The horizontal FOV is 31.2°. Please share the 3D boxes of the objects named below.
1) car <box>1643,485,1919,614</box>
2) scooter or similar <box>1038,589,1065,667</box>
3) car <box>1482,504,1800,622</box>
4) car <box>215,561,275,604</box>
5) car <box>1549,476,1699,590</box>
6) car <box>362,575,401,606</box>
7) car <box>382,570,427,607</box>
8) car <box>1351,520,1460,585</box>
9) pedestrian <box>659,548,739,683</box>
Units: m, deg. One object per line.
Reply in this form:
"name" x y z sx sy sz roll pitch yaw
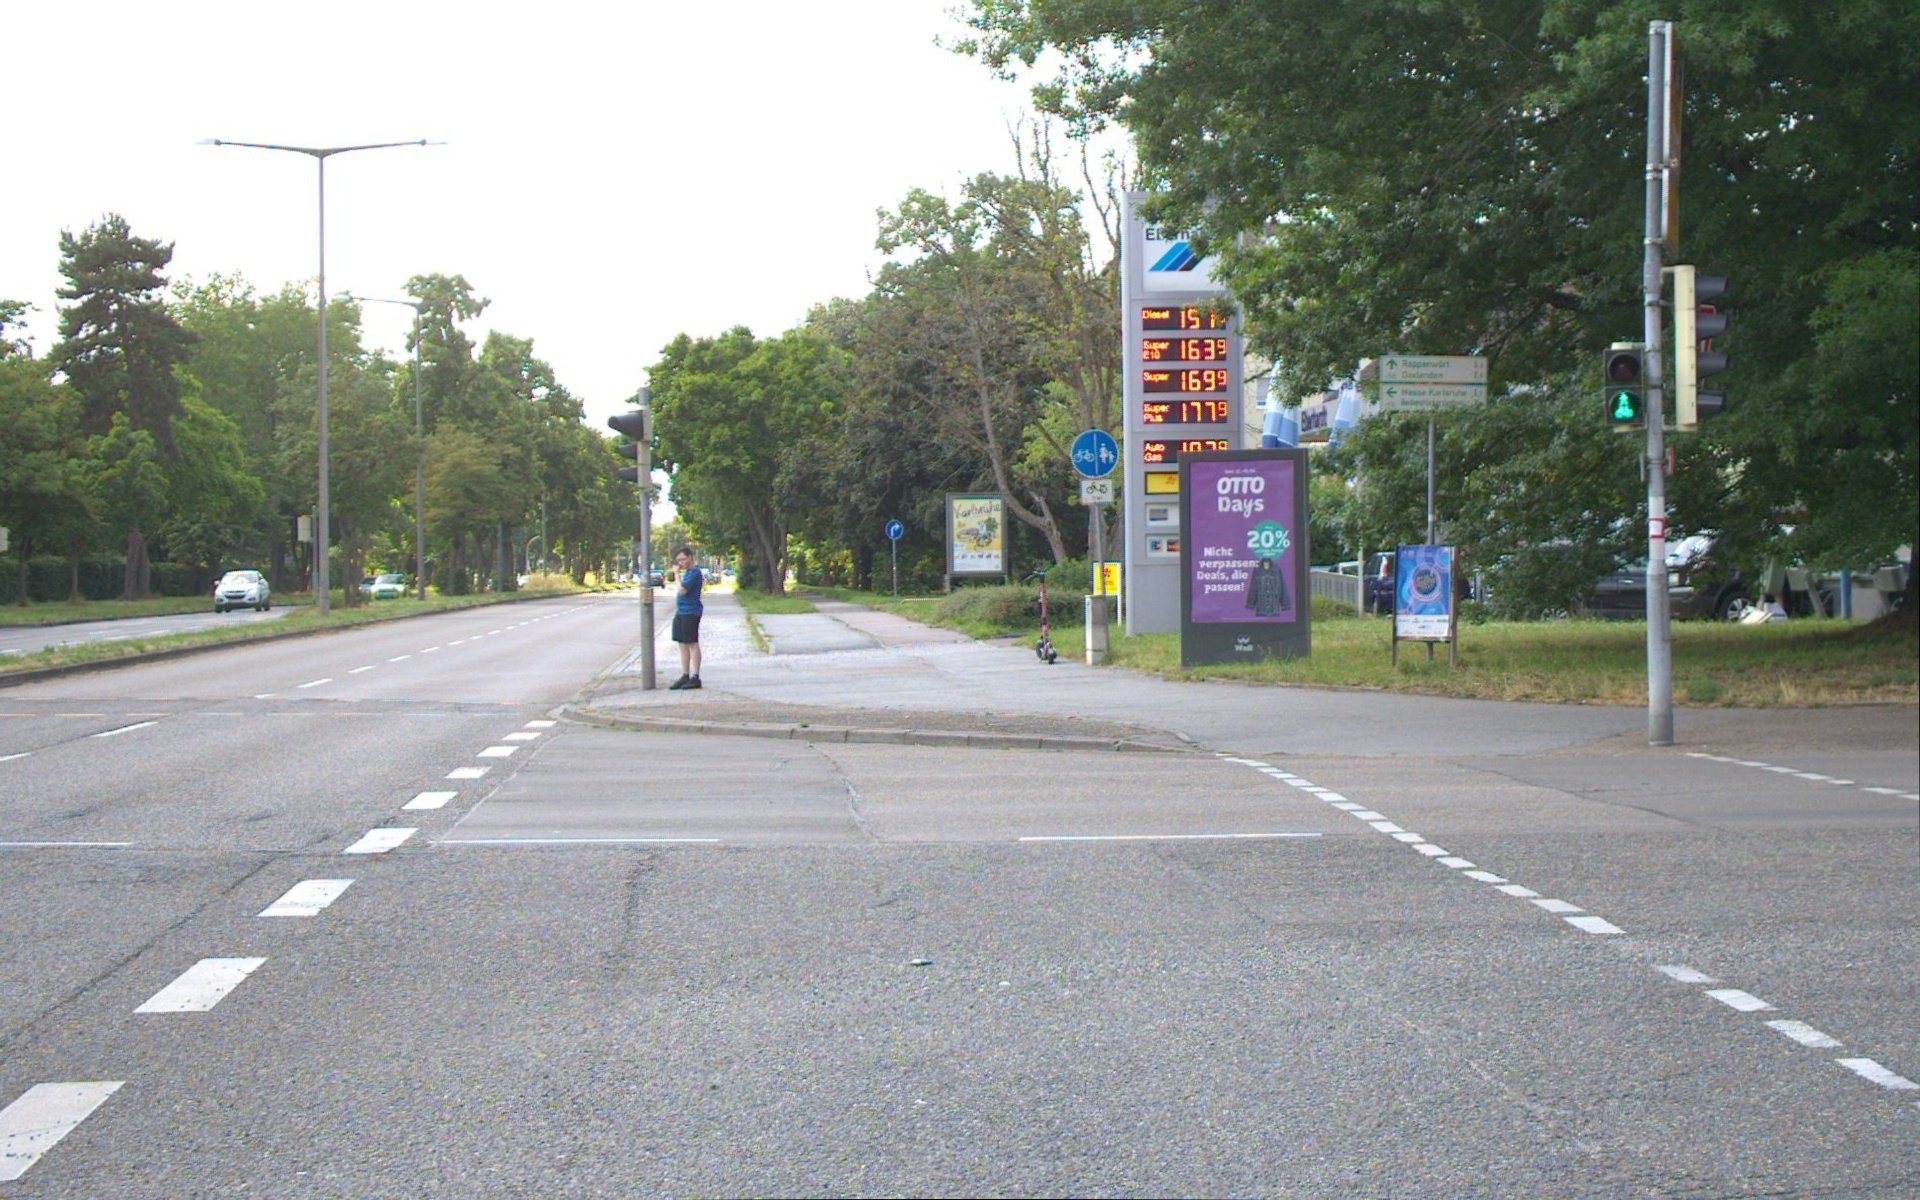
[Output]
"car" 13.007 -0.759 51.047 5.179 1.820 2.154 -1 0 -14
"scooter or similar" 1.174 0.350 44.088 0.221 0.976 1.272 -1 0 -3
"car" 12.246 -0.671 61.979 5.179 1.997 2.154 -1 0 -7
"car" -29.390 -0.722 141.393 1.860 1.699 4.456 -1 0 -5
"car" 14.957 -1.483 77.702 1.750 2.445 5.751 -1 0 -5
"car" -32.560 -0.522 193.573 1.859 1.699 4.456 -1 0 -6
"car" -26.947 -0.565 166.803 1.859 1.699 4.456 -1 0 -6
"car" 10.418 -1.106 80.612 1.750 1.449 3.742 -1 0 -5
"pedestrian" -3.014 0.171 39.680 0.725 1.526 0.760 -1 0 -20
